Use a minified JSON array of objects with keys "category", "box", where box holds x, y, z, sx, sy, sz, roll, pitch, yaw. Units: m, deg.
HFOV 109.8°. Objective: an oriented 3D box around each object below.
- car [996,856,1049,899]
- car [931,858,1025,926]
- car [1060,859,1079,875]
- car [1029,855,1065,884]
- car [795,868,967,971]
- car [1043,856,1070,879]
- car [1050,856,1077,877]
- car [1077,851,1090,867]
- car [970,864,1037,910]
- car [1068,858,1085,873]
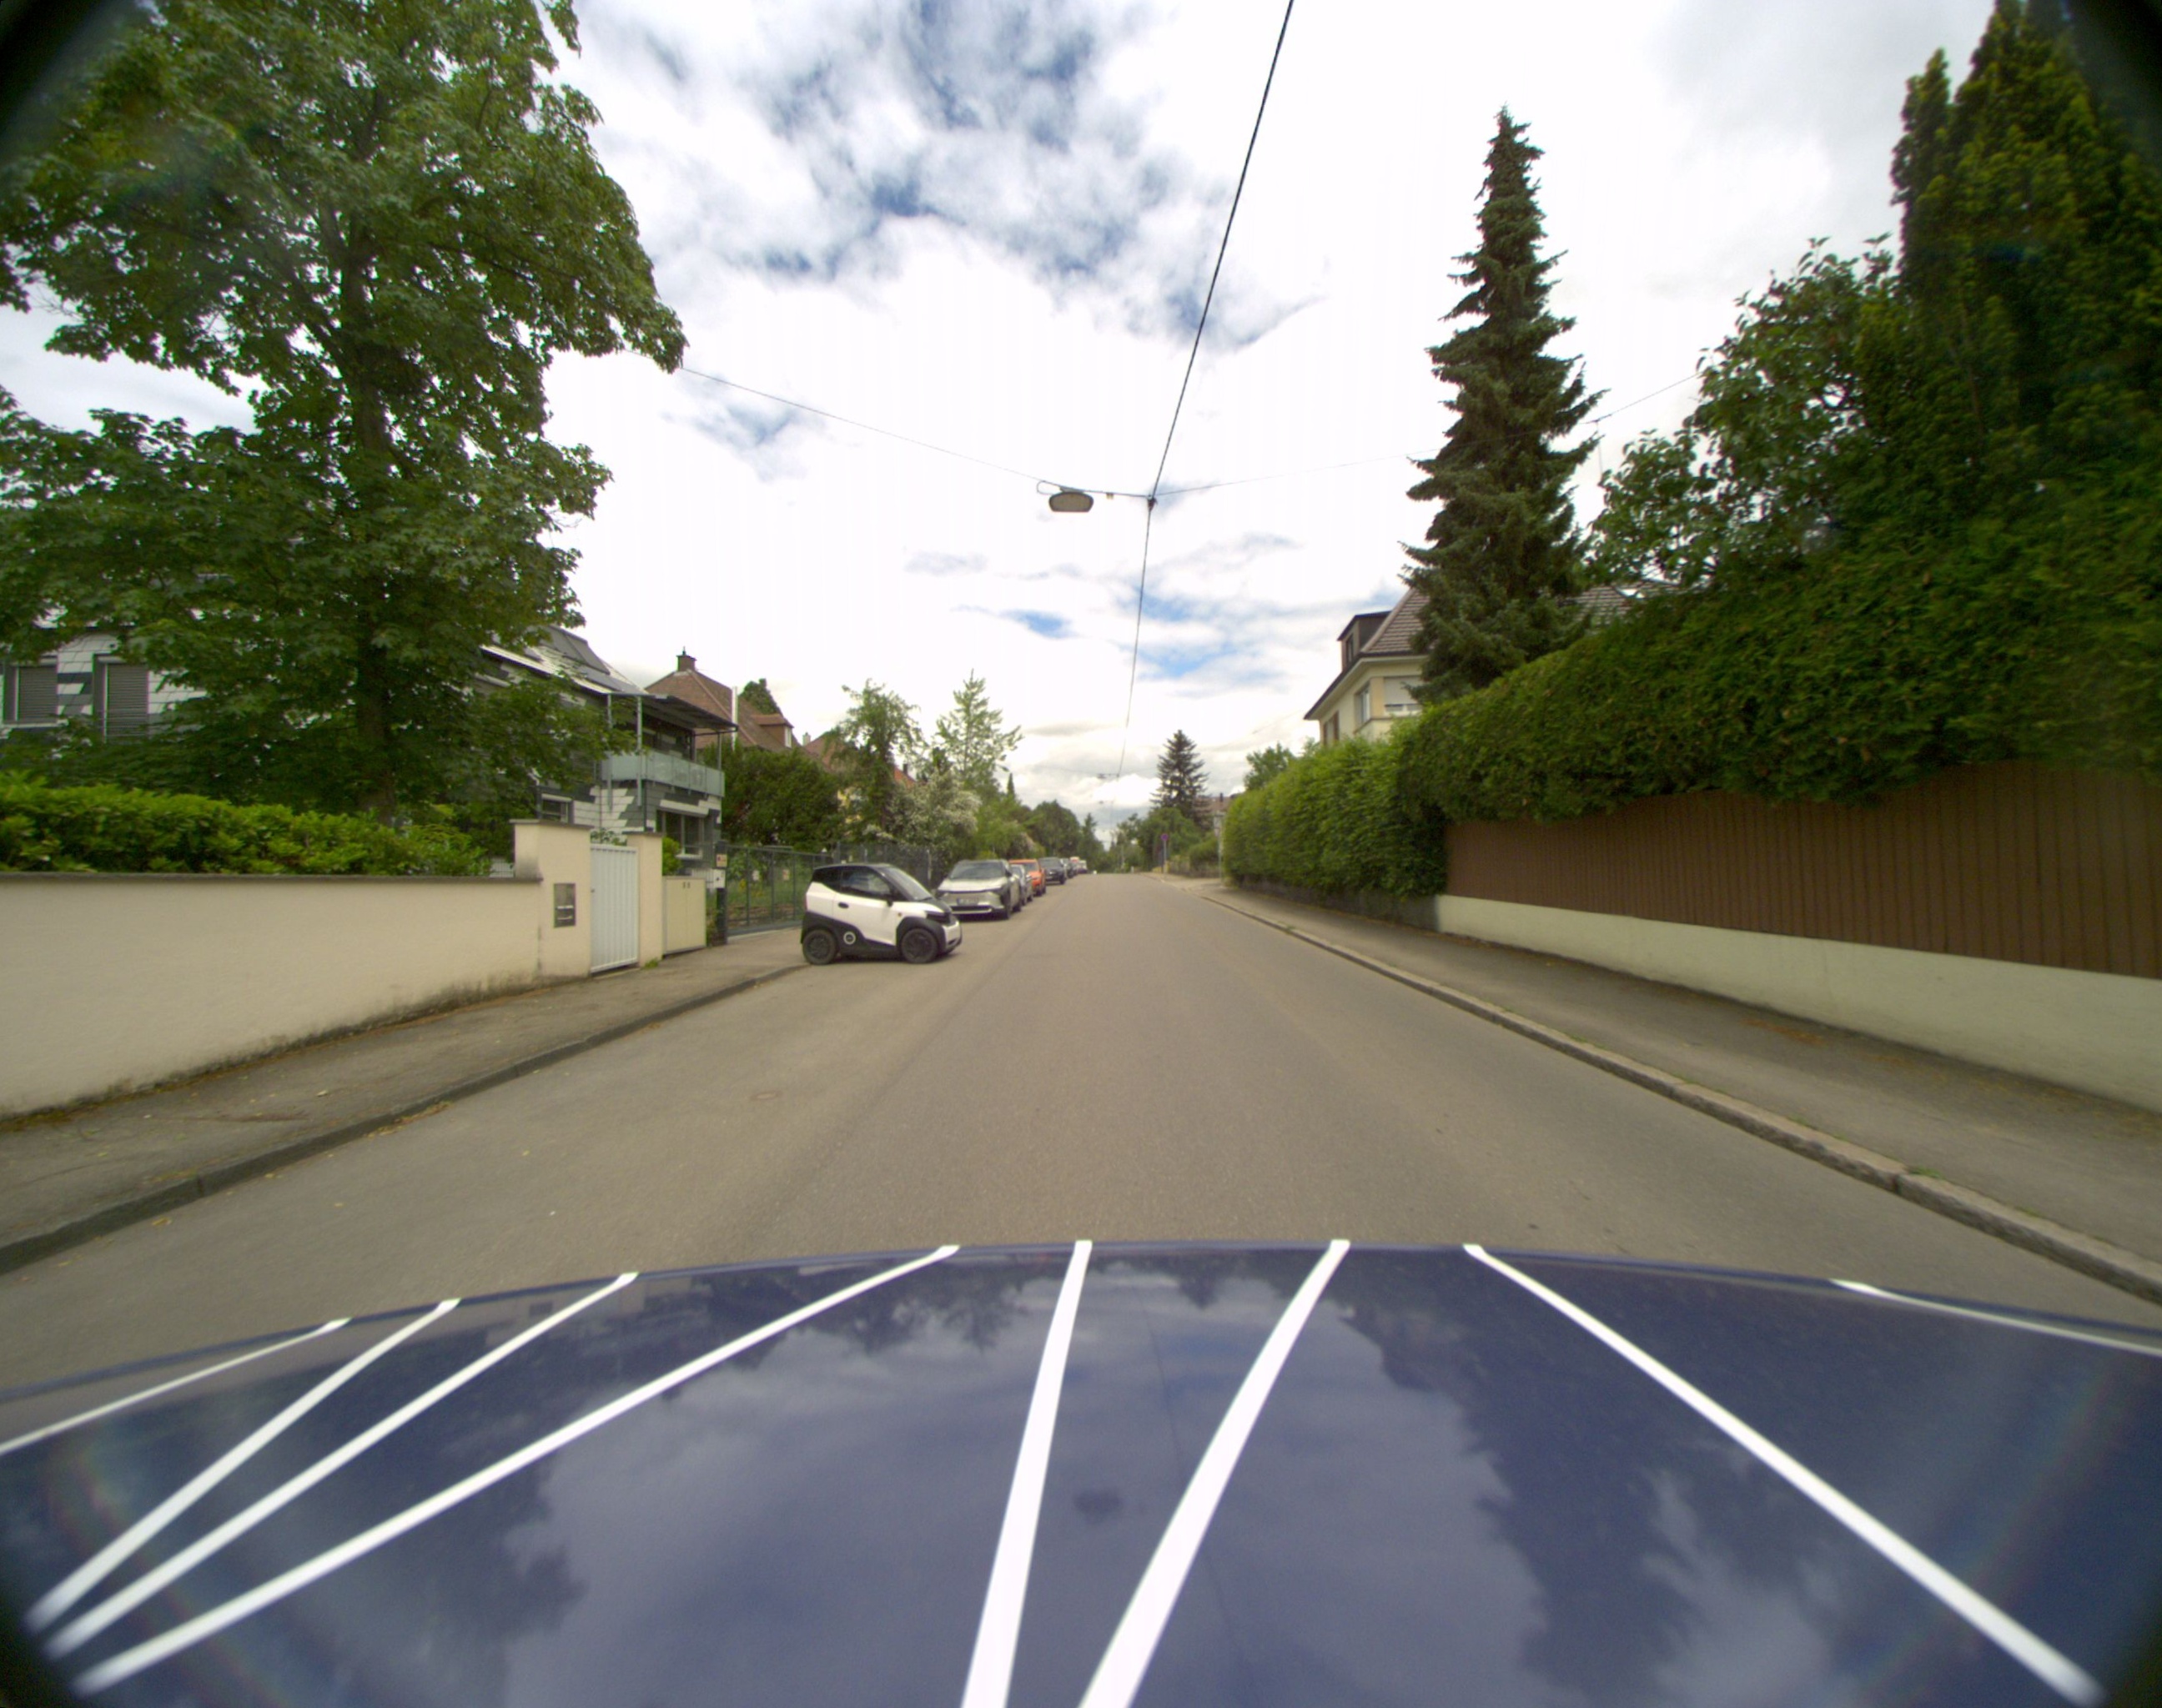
[{"category":"car","box":[-2.470,0.963,32.948,1.855,1.617,4.169,-3,0,1]},{"category":"car","box":[-2.728,0.955,21.162,1.833,1.614,4.492,-2,0,2]},{"category":"car","box":[-1.130,1.200,72.188,1.721,1.451,4.141,-1,-1,-1]},{"category":"car","box":[-1.997,0.915,46.356,1.955,1.617,4.376,-3,0,0]},{"category":"car","box":[-3.129,1.003,12.090,2.292,1.515,1.319,-1,0,7]},{"category":"car","box":[-1.677,0.958,53.183,1.602,1.501,3.014,-1,-1,2]},{"category":"car","box":[-1.329,0.969,59.548,1.805,1.582,4.142,-1,0,3]},{"category":"car","box":[0.345,0.741,113.532,1.854,2.210,5.368,-3,-1,0]},{"category":"car","box":[-2.623,1.081,26.518,1.720,1.374,4.236,-2,0,2]},{"category":"car","box":[-0.559,1.463,94.568,1.878,1.621,4.128,-2,-3,1]}]
